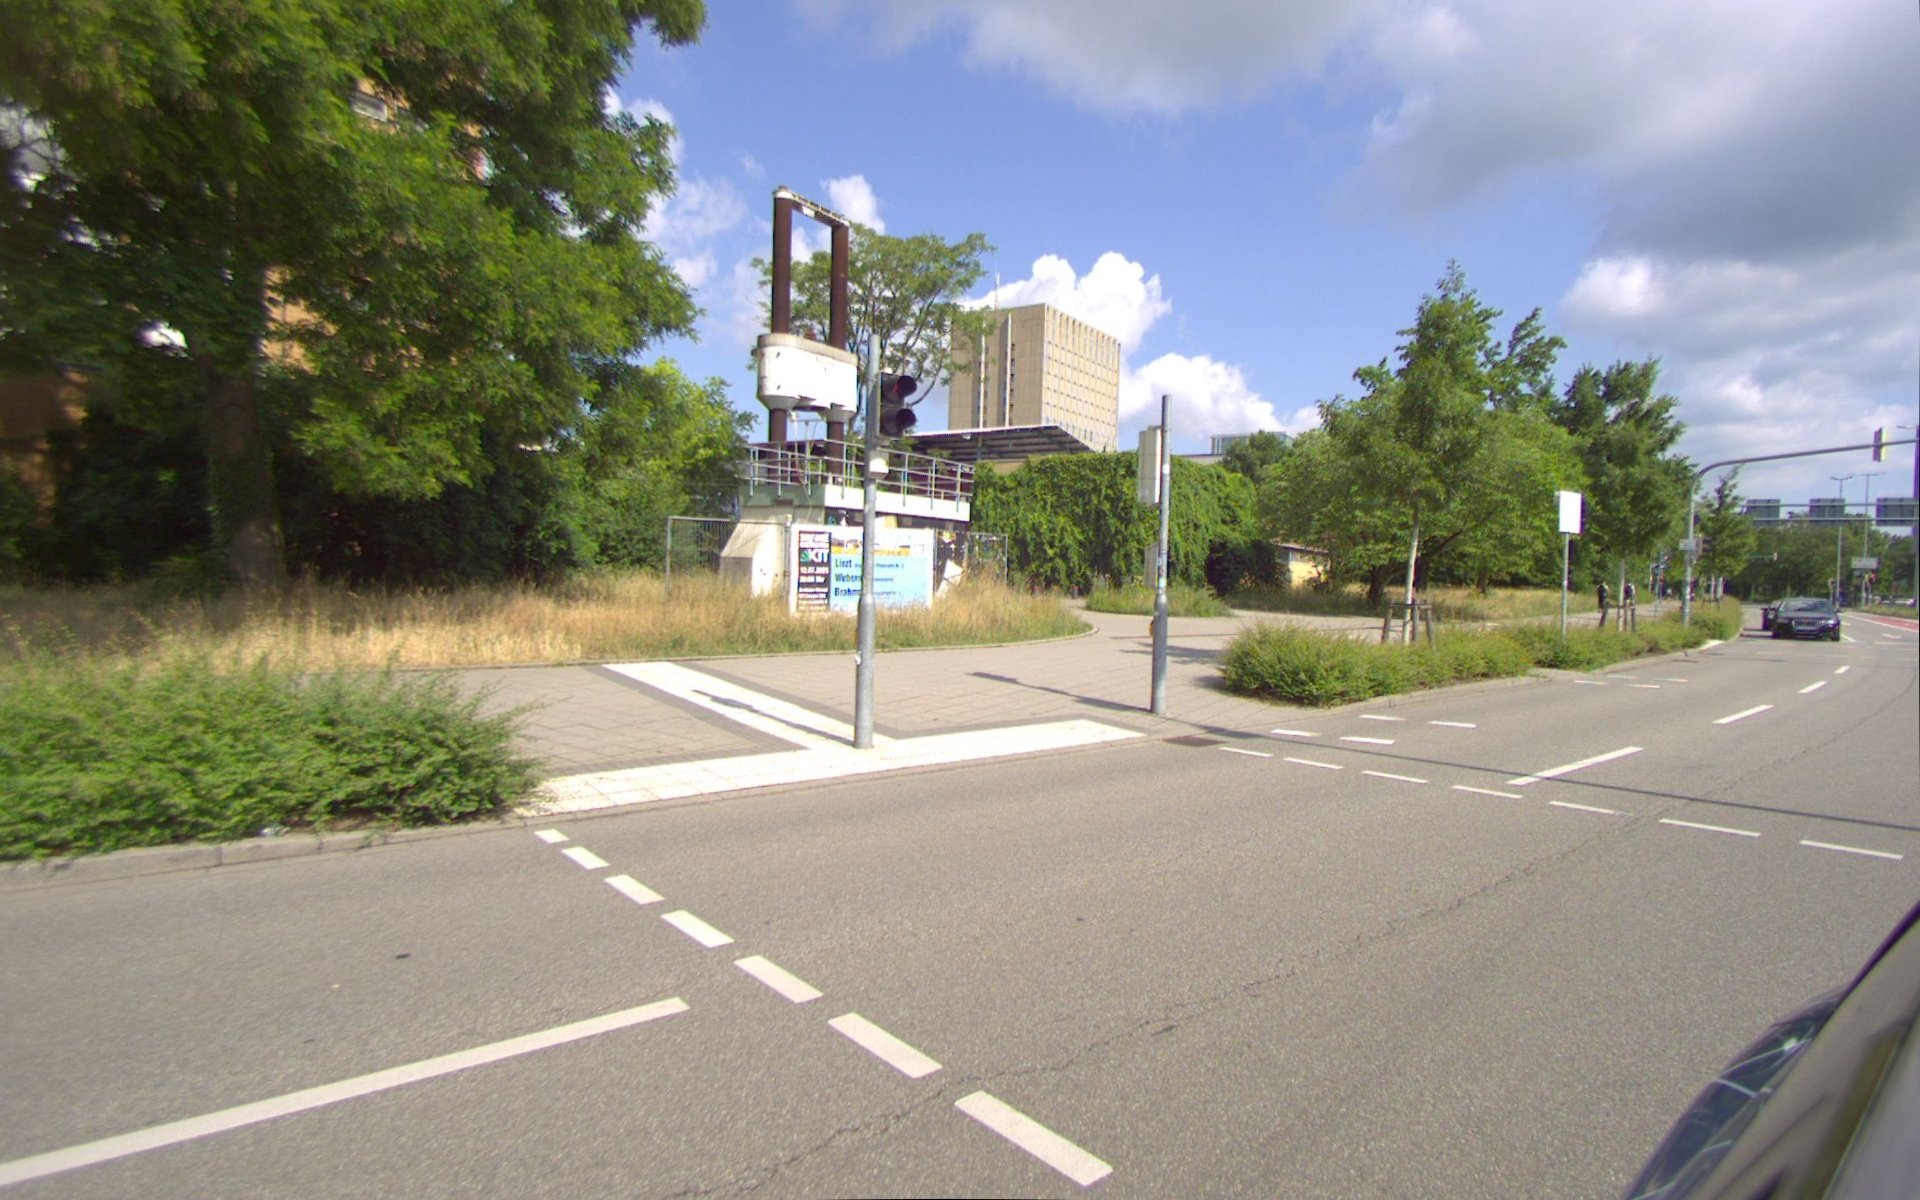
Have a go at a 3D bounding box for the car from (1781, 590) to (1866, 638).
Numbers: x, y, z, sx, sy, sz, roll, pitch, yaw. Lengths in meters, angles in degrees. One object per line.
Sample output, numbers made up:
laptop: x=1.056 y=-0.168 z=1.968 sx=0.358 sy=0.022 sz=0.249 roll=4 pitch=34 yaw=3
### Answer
car: x=28.899 y=0.424 z=33.969 sx=1.991 sy=1.394 sz=4.101 roll=4 pitch=3 yaw=39

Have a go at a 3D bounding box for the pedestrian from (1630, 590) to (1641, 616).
pedestrian: x=46.330 y=0.206 z=69.449 sx=0.538 sy=1.790 sz=0.518 roll=2 pitch=0 yaw=31

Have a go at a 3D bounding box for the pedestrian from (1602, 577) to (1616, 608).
pedestrian: x=35.083 y=-0.404 z=54.717 sx=0.538 sy=1.628 sz=0.518 roll=3 pitch=0 yaw=31
